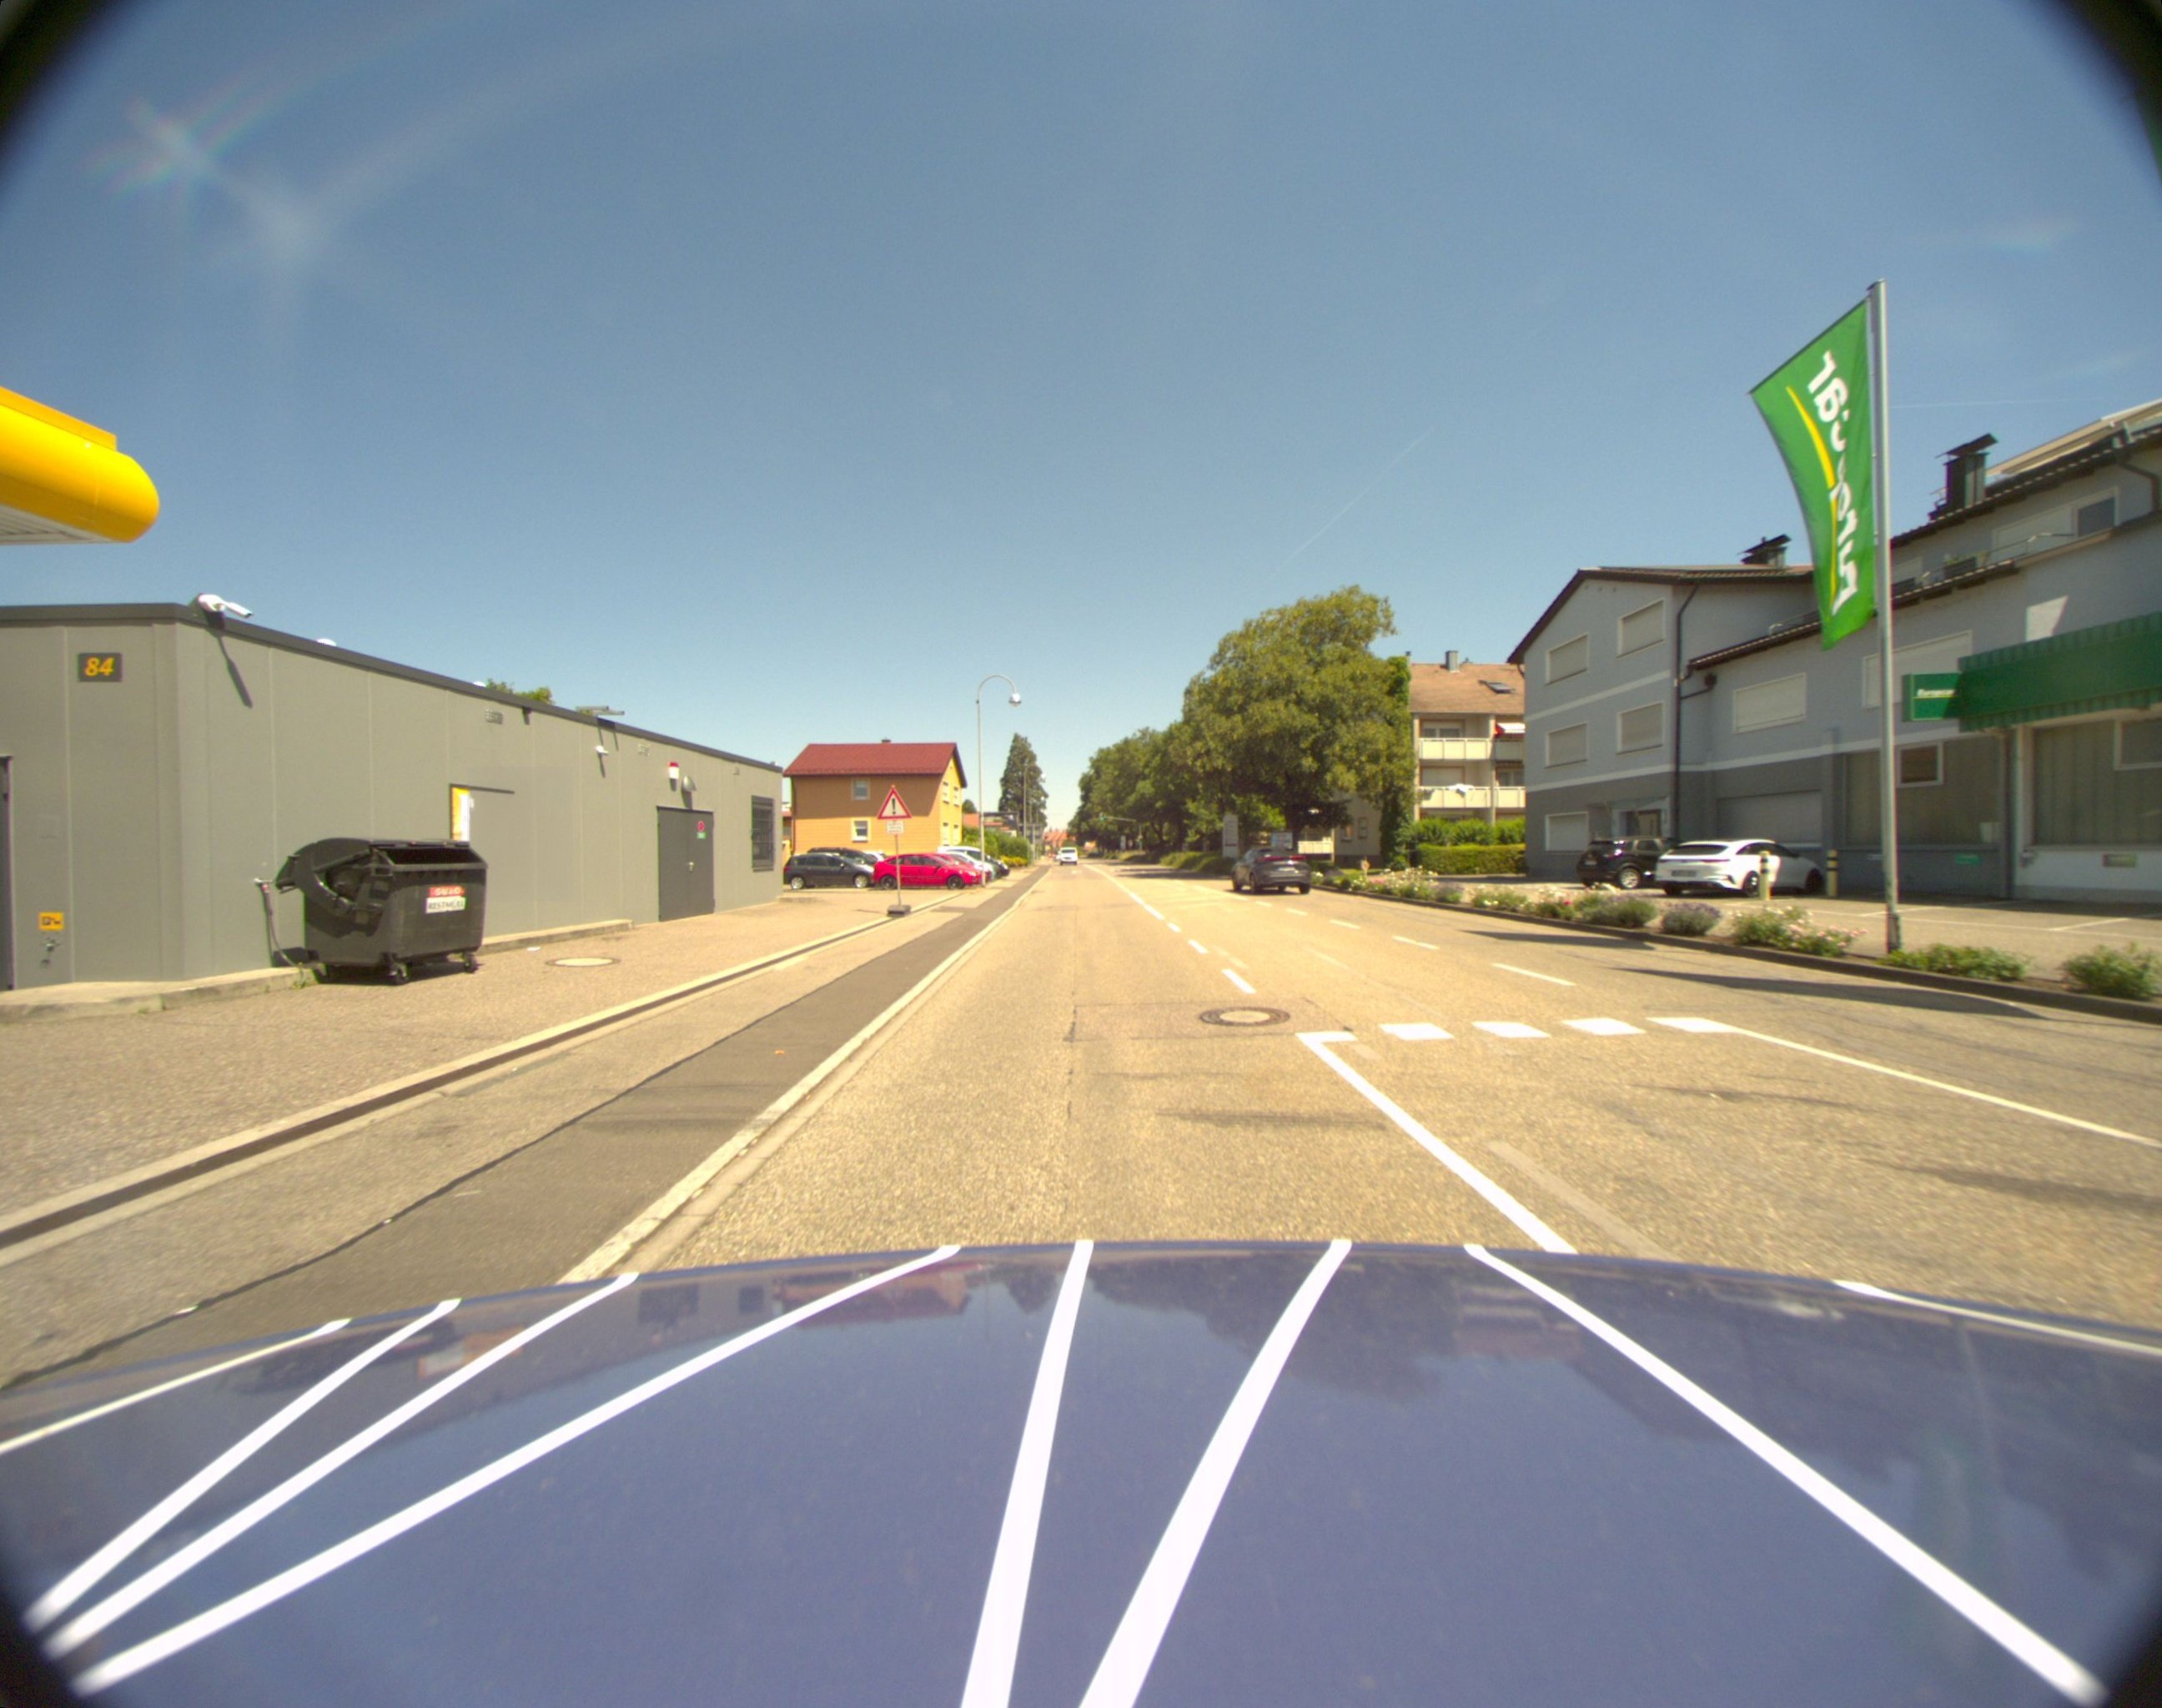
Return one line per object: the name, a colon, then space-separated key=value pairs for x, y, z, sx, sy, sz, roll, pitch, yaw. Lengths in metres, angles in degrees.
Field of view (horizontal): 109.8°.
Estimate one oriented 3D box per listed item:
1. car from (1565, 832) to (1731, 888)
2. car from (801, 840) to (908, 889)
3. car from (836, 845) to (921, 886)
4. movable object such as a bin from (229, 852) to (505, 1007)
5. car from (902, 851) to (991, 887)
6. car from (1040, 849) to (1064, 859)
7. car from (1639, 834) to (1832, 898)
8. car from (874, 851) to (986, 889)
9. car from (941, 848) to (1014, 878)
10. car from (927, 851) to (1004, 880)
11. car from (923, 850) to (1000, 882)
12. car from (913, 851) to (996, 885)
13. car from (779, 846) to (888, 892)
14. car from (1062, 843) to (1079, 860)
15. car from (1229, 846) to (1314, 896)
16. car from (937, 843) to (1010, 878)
car: x=17.092 y=0.155 z=23.055 sx=3.569 sy=1.556 sz=1.969 roll=-1 pitch=1 yaw=0
car: x=-10.506 y=0.467 z=35.516 sx=4.352 sy=1.885 sz=1.971 roll=-4 pitch=1 yaw=-3
car: x=-10.659 y=0.594 z=40.141 sx=3.903 sy=1.827 sz=1.688 roll=-4 pitch=1 yaw=1
movable object such as a bin: x=-7.216 y=0.705 z=7.824 sx=1.438 sy=1.429 sz=1.467 roll=1 pitch=1 yaw=0
car: x=-5.900 y=0.649 z=33.616 sx=3.695 sy=1.557 sz=1.708 roll=0 pitch=0 yaw=-4
car: x=-4.449 y=0.024 z=116.537 sx=3.638 sy=1.375 sz=1.626 roll=-1 pitch=1 yaw=0
car: x=16.509 y=0.251 z=19.183 sx=4.359 sy=1.431 sz=1.936 roll=-2 pitch=1 yaw=-22
car: x=-6.117 y=0.624 z=31.145 sx=4.235 sy=1.526 sz=1.958 roll=0 pitch=0 yaw=-1
car: x=-5.758 y=0.486 z=42.538 sx=3.886 sy=1.671 sz=1.763 roll=0 pitch=0 yaw=-3
car: x=-6.071 y=0.598 z=40.274 sx=3.802 sy=1.501 sz=1.833 roll=0 pitch=0 yaw=0
car: x=-5.960 y=0.568 z=38.189 sx=3.694 sy=1.557 sz=1.641 roll=0 pitch=0 yaw=-3
car: x=-5.923 y=0.657 z=35.923 sx=3.695 sy=1.557 sz=1.749 roll=0 pitch=0 yaw=-4
car: x=-10.713 y=0.643 z=33.051 sx=4.050 sy=1.658 sz=1.782 roll=-4 pitch=1 yaw=-1
car: x=-1.167 y=-0.287 z=85.831 sx=1.796 sy=1.904 sz=3.639 roll=-1 pitch=1 yaw=-2
car: x=6.269 y=0.498 z=25.426 sx=1.767 sy=1.518 sz=4.137 roll=-1 pitch=1 yaw=-1
car: x=-6.257 y=0.343 z=44.624 sx=4.147 sy=1.927 sz=1.807 roll=-1 pitch=1 yaw=-6
